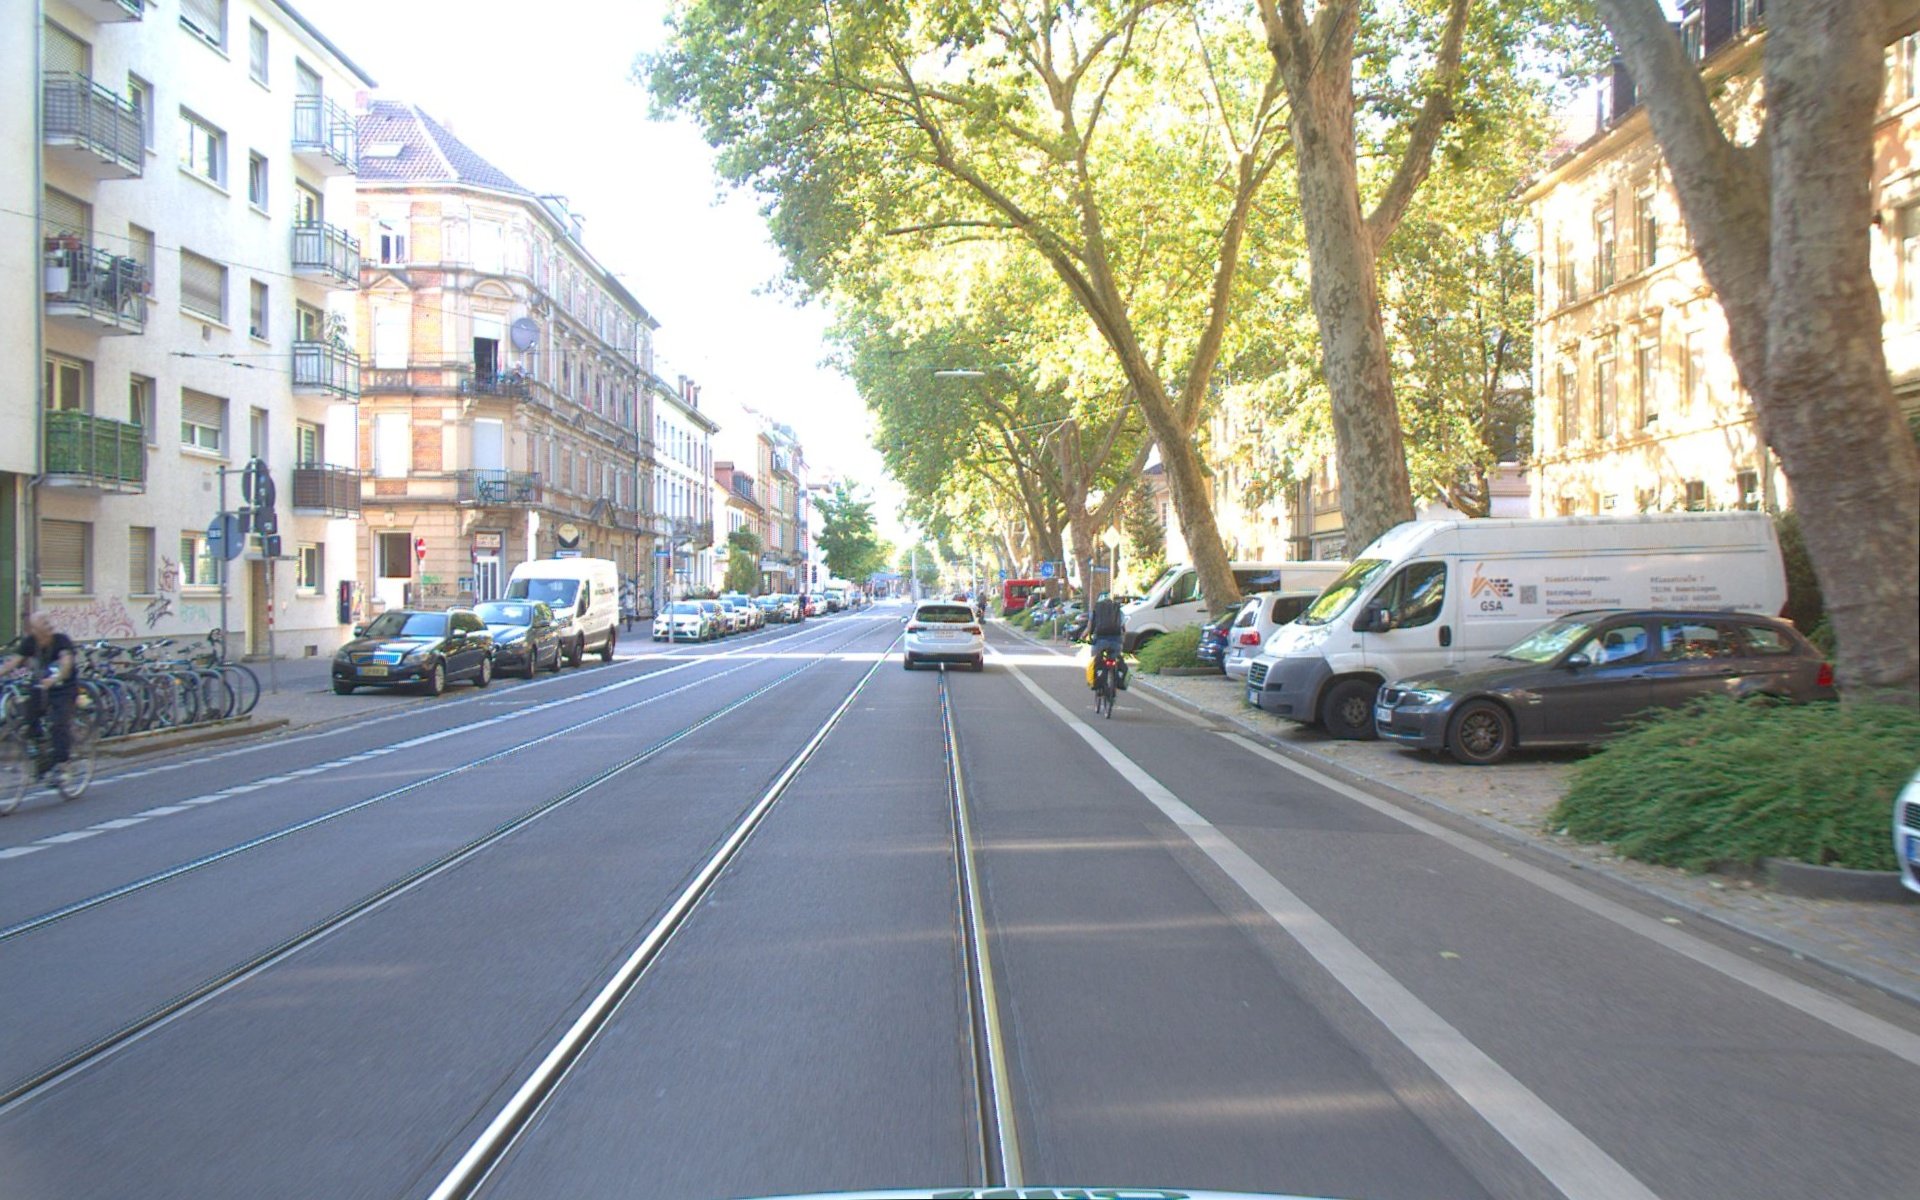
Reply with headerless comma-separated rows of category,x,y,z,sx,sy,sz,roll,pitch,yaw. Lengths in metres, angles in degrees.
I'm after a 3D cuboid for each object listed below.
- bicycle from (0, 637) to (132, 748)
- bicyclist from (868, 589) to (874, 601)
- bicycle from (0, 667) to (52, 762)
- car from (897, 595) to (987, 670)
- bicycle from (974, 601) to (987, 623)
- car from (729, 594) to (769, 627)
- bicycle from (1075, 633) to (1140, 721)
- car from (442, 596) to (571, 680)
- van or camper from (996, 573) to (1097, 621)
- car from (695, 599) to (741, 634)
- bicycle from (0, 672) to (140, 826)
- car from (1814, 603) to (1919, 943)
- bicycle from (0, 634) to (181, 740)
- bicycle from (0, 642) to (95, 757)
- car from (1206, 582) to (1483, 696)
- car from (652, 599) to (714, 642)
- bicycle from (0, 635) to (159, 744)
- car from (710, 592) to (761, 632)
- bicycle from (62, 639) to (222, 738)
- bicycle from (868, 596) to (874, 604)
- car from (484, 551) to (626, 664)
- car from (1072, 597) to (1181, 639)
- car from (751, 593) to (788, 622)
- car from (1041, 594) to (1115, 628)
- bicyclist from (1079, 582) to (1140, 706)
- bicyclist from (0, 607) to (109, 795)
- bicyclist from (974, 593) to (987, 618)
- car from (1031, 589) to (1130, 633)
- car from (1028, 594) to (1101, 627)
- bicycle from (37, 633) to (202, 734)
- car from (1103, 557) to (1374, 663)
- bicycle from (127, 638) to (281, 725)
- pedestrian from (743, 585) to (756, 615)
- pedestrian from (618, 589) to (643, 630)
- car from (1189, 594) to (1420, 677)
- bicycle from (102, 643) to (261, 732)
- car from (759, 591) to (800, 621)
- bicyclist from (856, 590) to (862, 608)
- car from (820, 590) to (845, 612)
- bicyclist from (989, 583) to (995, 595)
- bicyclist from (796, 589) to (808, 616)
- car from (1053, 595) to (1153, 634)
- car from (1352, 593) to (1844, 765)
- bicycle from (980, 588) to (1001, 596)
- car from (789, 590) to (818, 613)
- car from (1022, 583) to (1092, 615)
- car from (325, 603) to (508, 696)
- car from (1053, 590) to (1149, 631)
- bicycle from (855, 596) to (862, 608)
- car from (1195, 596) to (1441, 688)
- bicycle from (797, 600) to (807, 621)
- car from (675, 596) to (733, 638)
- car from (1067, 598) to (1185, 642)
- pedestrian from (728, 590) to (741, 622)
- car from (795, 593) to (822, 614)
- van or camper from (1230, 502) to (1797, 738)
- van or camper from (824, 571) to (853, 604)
bicycle,-9.988,0.985,17.884,1.890,1.138,0.440,1,0,6
bicyclist,-10.938,-0.626,202.912,0.625,1.529,1.070,-1,0,1
bicycle,-10.093,1.149,16.663,1.592,0.933,0.400,1,0,-18
car,-0.434,0.663,35.750,1.805,1.506,3.836,1,0,-3
bicycle,1.132,0.665,91.458,0.666,1.175,2.964,1,0,0
car,-10.533,0.500,82.754,1.629,1.547,4.062,1,0,-3
bicycle,1.958,1.005,22.191,0.583,1.022,2.511,2,0,-1
car,-9.570,0.747,35.195,1.684,1.660,4.345,0,0,-2
van or camper,5.088,-0.215,98.139,5.699,2.562,2.287,-2,1,-3
car,-10.477,0.681,71.813,1.666,1.445,3.996,1,0,-5
bicycle,-7.180,1.139,13.087,0.408,1.035,1.946,-2,0,-1
car,6.217,0.745,7.428,3.872,1.506,1.689,-1,0,1
bicycle,-9.949,0.983,18.911,1.926,1.138,0.425,1,0,6
bicycle,-10.037,1.020,17.252,1.853,1.138,0.402,1,0,6
car,5.979,0.595,25.998,3.876,1.684,1.795,-1,-1,-4
car,-10.224,0.739,61.290,1.705,1.518,4.043,1,0,-2
bicycle,-9.974,0.984,18.424,1.919,1.138,0.440,1,0,6
car,-10.427,0.544,77.069,1.750,1.753,4.718,1,0,-1
bicycle,-9.842,1.057,19.915,1.751,1.138,0.425,1,0,6
bicycle,-10.930,-0.003,202.907,0.488,0.959,1.922,-2,0,1
car,-9.860,0.161,40.725,2.022,2.580,5.667,0,0,1
car,6.233,0.661,62.273,4.010,1.517,1.682,0,0,4
car,-10.620,0.404,92.367,1.522,1.542,3.925,-1,0,2
car,5.800,0.544,81.347,3.522,1.627,1.541,0,-1,-1
bicyclist,1.992,0.574,22.102,0.602,1.579,0.935,4,0,-1
bicyclist,-7.169,0.774,13.054,0.498,1.418,0.709,-2,0,-1
bicyclist,1.118,0.303,91.421,0.665,1.362,0.525,1,0,-1
car,5.390,0.475,74.500,4.177,1.748,1.848,-3,0,-3
car,5.272,0.537,83.859,3.522,1.544,1.693,-2,0,-1
bicycle,-9.955,0.982,19.598,1.780,1.138,0.425,1,0,6
car,6.285,0.201,37.794,5.868,2.322,2.006,0,1,1
bicycle,-9.800,1.050,21.455,1.853,1.056,0.402,1,0,6
pedestrian,-13.260,-0.011,104.341,0.744,1.853,0.829,0,0,-4
pedestrian,-13.705,0.383,68.721,0.650,1.694,0.767,1,0,31
car,6.476,0.654,31.380,3.972,1.485,1.795,-1,0,-3
bicycle,-9.803,1.099,20.833,1.853,1.056,0.402,1,0,6
car,-10.614,0.341,97.493,1.818,1.733,4.763,-1,0,0
bicyclist,-9.300,-0.104,152.069,0.463,1.664,0.800,0,0,0
car,-11.235,0.061,145.602,1.925,1.812,4.935,2,0,-2
bicyclist,4.216,-1.428,216.689,0.721,1.617,0.587,-1,0,12
bicyclist,-8.805,0.152,92.003,0.571,1.508,0.807,-1,0,-1
car,5.939,0.588,68.847,3.947,1.506,1.681,-1,0,-2
car,6.362,0.762,16.801,4.299,1.579,1.782,1,0,-2
bicycle,4.007,-1.102,216.735,2.711,1.017,0.593,1,0,14
car,-11.209,0.094,118.766,1.536,1.590,3.450,0,0,3
car,5.489,-0.053,93.680,3.743,1.678,1.766,-2,-1,-4
car,-9.528,0.816,29.366,1.683,1.482,4.572,0,0,1
car,6.059,0.437,71.478,3.947,1.672,1.680,-1,0,-3
bicycle,-9.321,0.194,151.892,0.471,1.105,1.846,0,0,0
car,6.178,0.700,28.819,3.874,1.504,1.796,-1,0,-1
bicycle,-8.783,0.587,92.089,0.412,1.170,2.231,-1,0,-2
car,-10.257,0.641,66.510,1.705,1.589,4.784,1,0,-2
car,5.956,0.717,59.707,4.014,1.517,1.830,0,0,-3
pedestrian,-14.227,0.373,104.339,0.744,2.049,0.829,0,0,-3
car,-11.327,0.229,123.922,1.790,1.529,4.686,1,0,-3
van or camper,6.295,0.214,19.320,5.911,2.534,2.107,-1,0,-2
van or camper,-12.034,-1.217,163.749,2.171,3.195,7.114,1,0,1
